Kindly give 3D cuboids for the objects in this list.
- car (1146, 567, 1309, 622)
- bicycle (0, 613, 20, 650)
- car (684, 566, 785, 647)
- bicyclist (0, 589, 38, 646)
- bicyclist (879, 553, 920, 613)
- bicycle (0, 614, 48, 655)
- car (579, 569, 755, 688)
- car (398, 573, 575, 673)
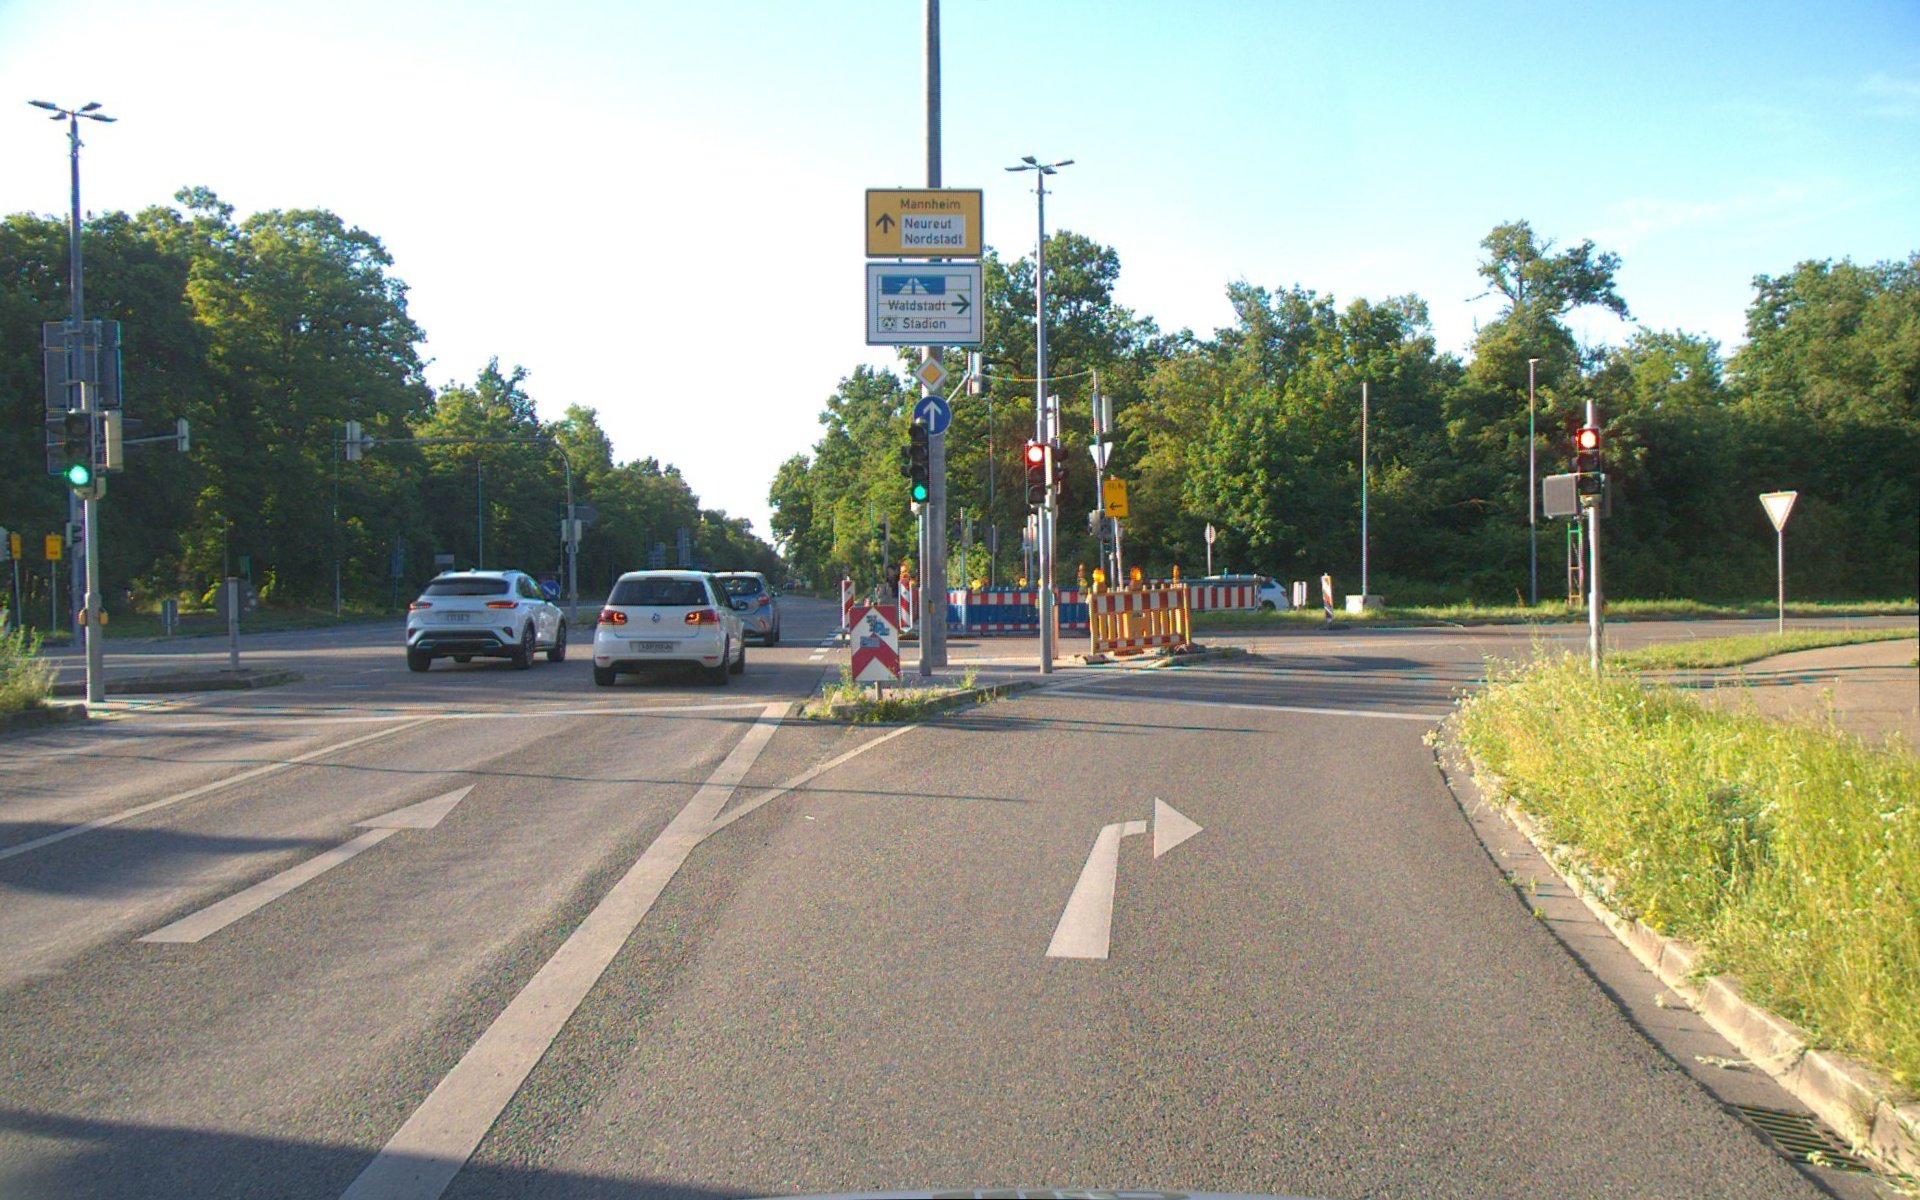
[{"bbox_3d":[8.358,-0.193,51.656,4.756,1.608,1.985,-1,1,-25],"label":"car"},{"bbox_3d":[-24.790,0.823,41.996,0.700,0.930,1.911,-1,1,1],"label":"bicycle"},{"bbox_3d":[-4.668,0.100,34.588,1.955,1.563,3.994,-1,1,-7],"label":"car"},{"bbox_3d":[-22.924,0.421,39.980,0.700,1.362,0.990,-1,1,0],"label":"bicyclist"},{"bbox_3d":[-2.002,-0.578,54.620,1.004,1.963,0.957,0,1,-35],"label":"bicyclist"},{"bbox_3d":[-22.921,0.823,39.924,0.700,0.930,1.911,-1,1,1],"label":"bicycle"},{"bbox_3d":[-3.900,0.327,22.621,1.902,1.439,3.997,-1,1,-4],"label":"car"},{"bbox_3d":[-7.382,0.309,26.165,1.826,1.469,3.998,0,1,-3],"label":"car"}]
